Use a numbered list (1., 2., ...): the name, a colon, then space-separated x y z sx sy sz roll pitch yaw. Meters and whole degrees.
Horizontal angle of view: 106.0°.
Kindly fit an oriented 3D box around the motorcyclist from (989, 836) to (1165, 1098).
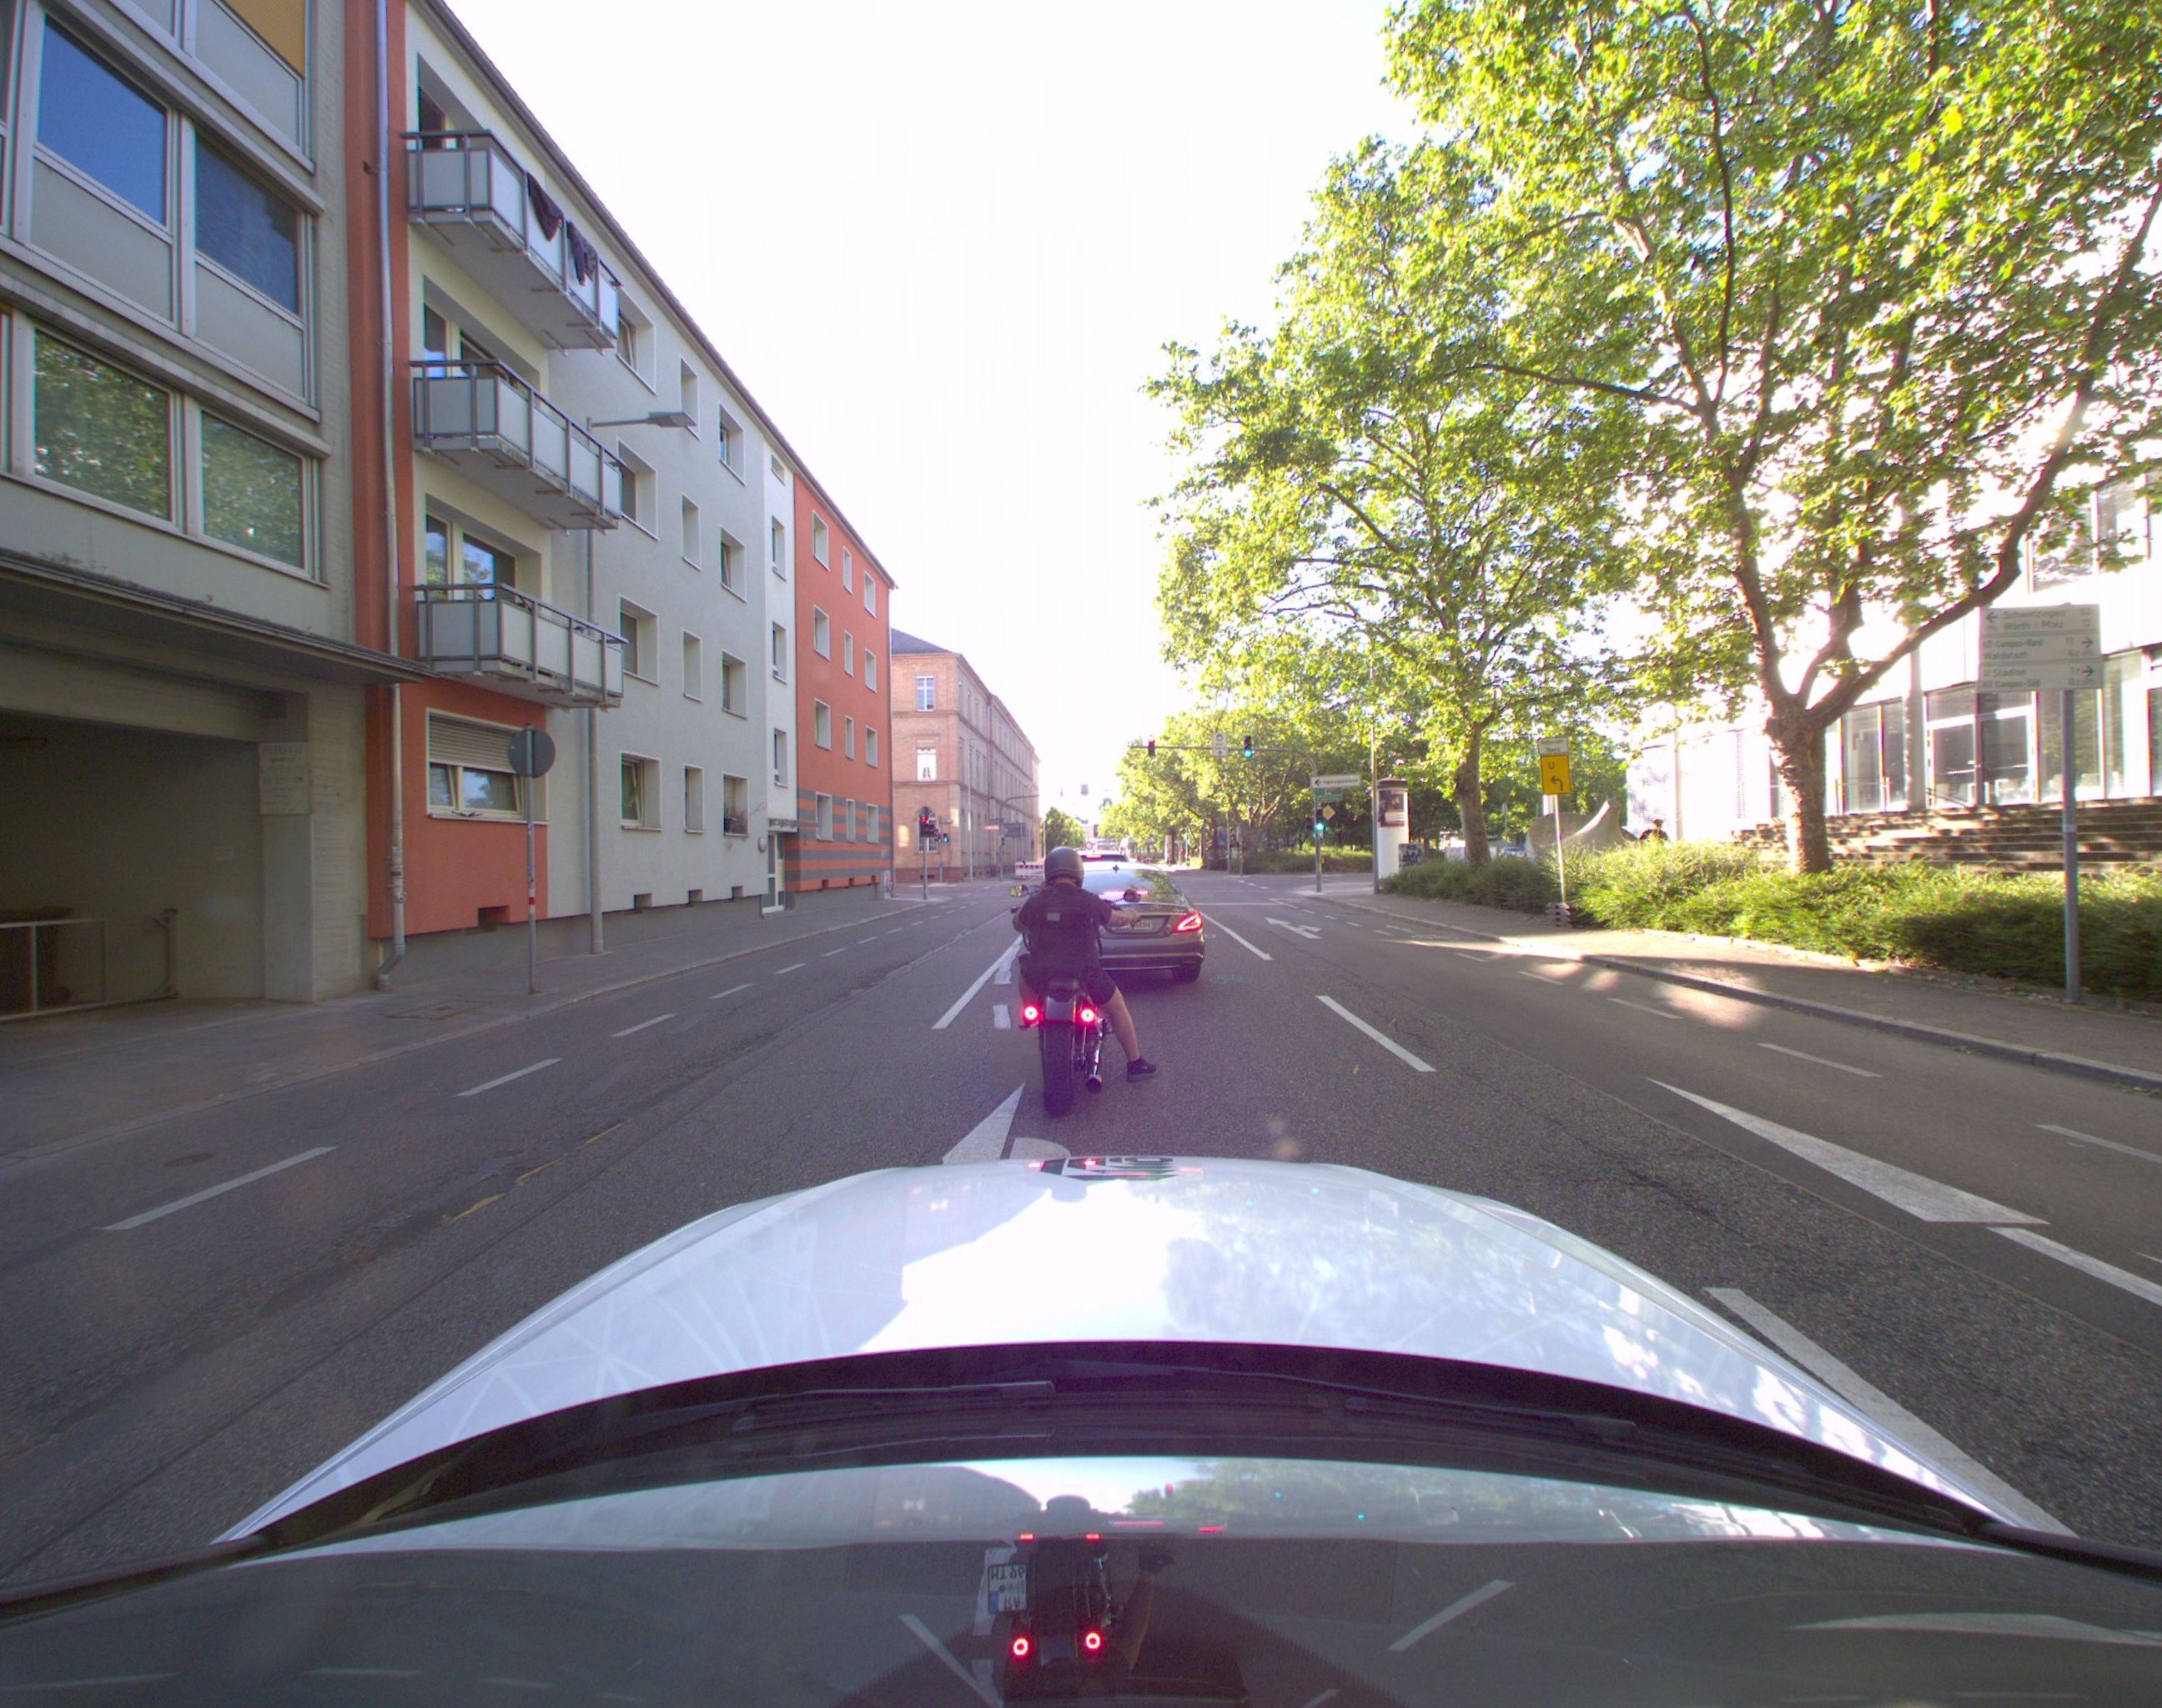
1. motorcyclist: -0.011 0.691 5.396 1.057 1.582 0.908 0 -1 1

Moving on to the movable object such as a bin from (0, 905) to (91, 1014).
1. movable object such as a bin: -11.330 1.099 8.653 0.736 1.074 0.716 0 -1 2

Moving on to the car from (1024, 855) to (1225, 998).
1. car: 0.328 0.760 10.694 1.900 1.441 4.278 -1 0 -7

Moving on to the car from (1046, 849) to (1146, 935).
1. car: 0.263 0.698 16.901 1.808 1.536 3.847 -1 0 -1

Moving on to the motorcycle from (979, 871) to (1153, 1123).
1. motorcycle: -0.046 0.816 5.666 0.958 1.357 2.321 0 -1 2

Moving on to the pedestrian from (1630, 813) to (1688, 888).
1. pedestrian: 14.125 -0.080 19.919 0.781 1.781 0.862 -1 0 0

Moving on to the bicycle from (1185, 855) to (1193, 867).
1. bicycle: 10.933 0.727 82.221 0.712 1.172 2.179 0 -1 6

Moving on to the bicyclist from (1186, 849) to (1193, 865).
1. bicyclist: 10.932 0.332 82.156 0.713 1.582 0.937 0 -1 5
